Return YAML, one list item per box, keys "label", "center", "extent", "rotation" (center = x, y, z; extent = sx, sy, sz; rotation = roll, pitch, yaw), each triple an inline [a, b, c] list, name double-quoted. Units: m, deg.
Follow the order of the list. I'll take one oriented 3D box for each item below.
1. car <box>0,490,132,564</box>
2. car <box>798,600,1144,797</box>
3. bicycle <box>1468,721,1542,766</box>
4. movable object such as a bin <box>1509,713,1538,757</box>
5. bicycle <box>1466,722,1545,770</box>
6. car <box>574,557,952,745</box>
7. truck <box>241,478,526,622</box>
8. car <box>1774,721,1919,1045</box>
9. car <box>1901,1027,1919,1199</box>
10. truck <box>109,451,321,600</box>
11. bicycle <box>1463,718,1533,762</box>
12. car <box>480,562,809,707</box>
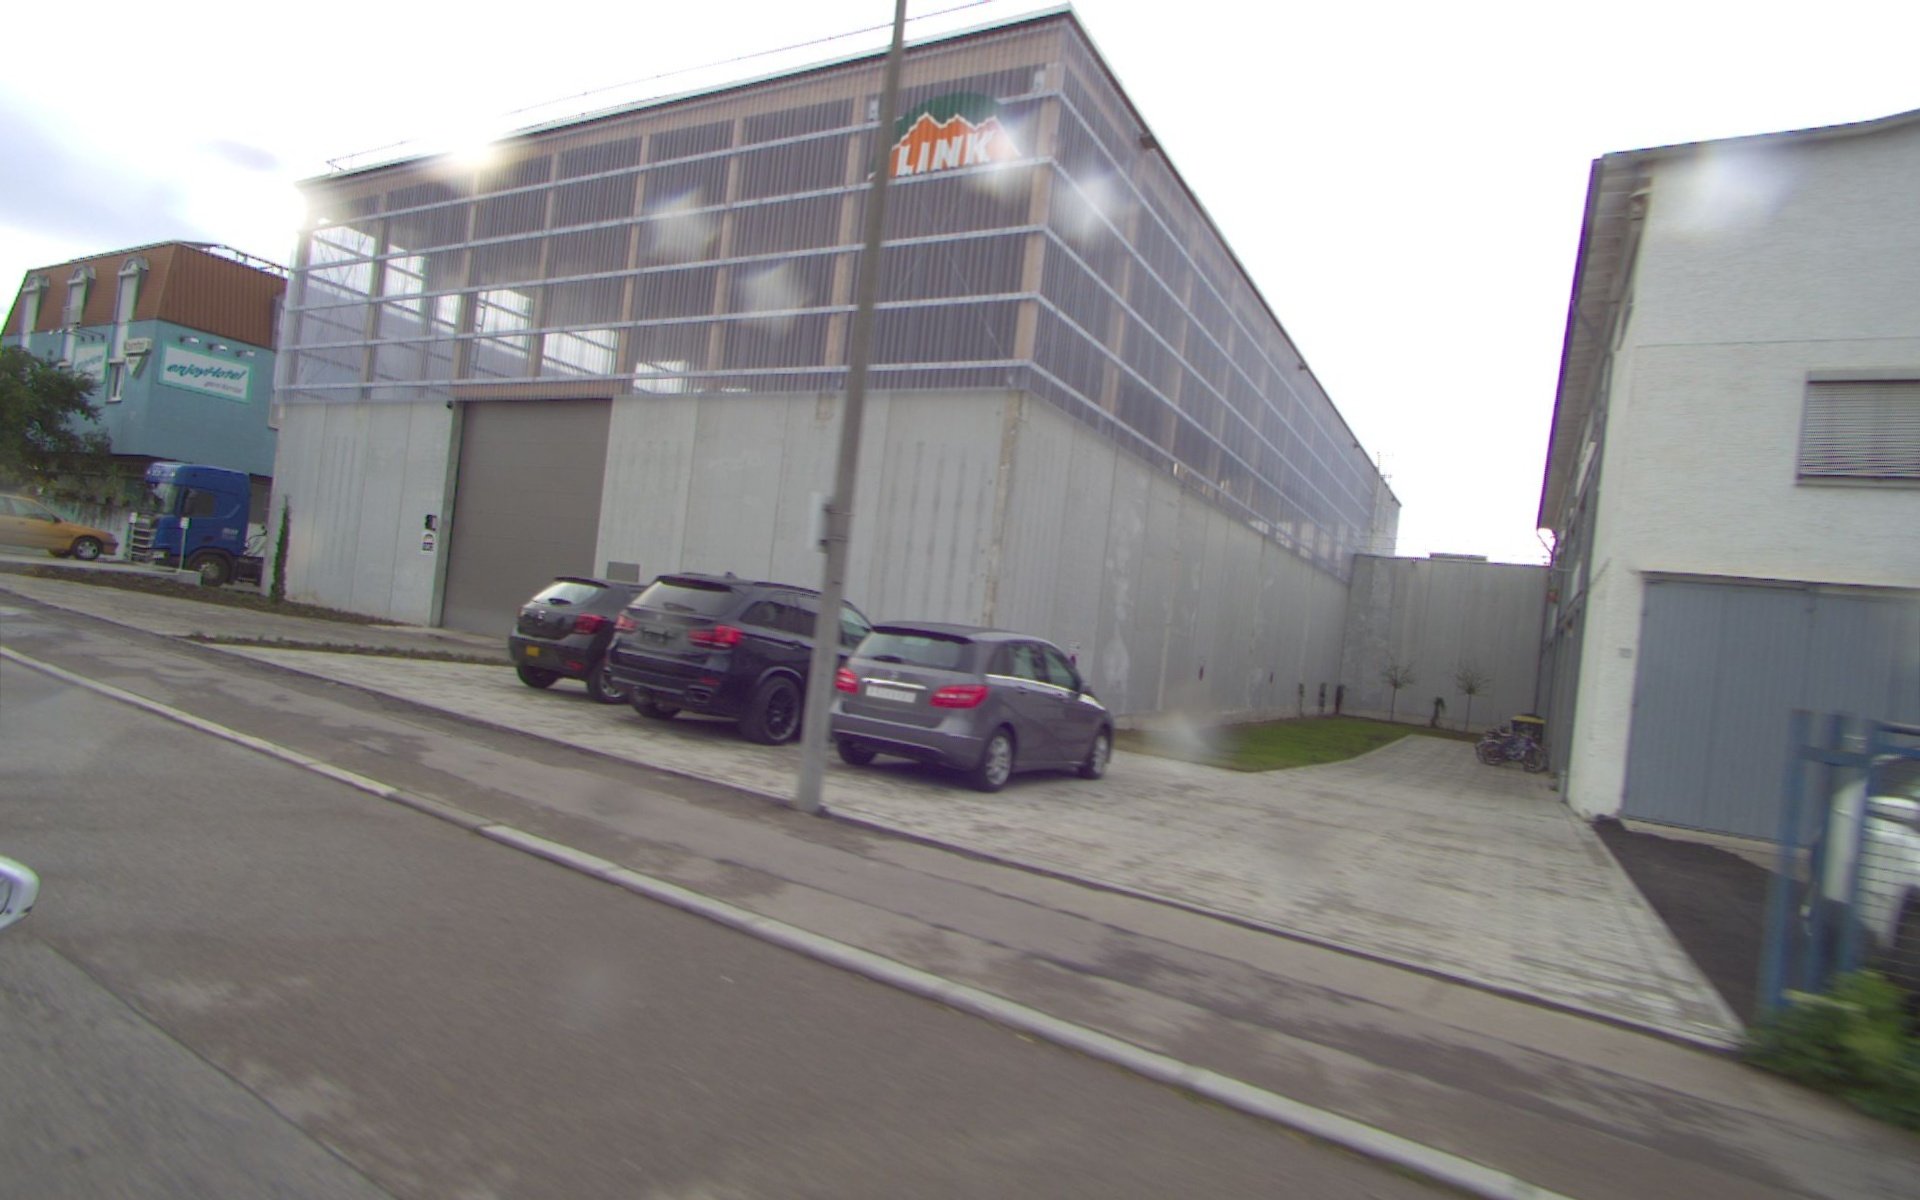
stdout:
- label: "car"
  center: [-23.005, -1.891, 24.488]
  extent: [1.603, 1.447, 3.996]
  rotation: [7, -1, 29]
- label: "car"
  center: [0.362, 1.099, 11.032]
  extent: [1.781, 1.553, 4.255]
  rotation: [7, -3, 31]
- label: "bicycle"
  center: [16.774, 4.413, 30.976]
  extent: [1.795, 1.072, 0.676]
  rotation: [6, -2, 40]
- label: "movable object such as a bin"
  center: [19.656, 4.697, 35.076]
  extent: [0.711, 1.397, 0.408]
  rotation: [7, -1, 34]
- label: "bicycle"
  center: [15.731, 4.215, 29.032]
  extent: [1.795, 1.072, 0.676]
  rotation: [6, -2, 40]
- label: "car"
  center: [-2.120, 0.692, 12.055]
  extent: [1.948, 1.694, 4.235]
  rotation: [6, -3, 32]
- label: "truck"
  center: [-20.541, -1.601, 36.627]
  extent: [2.675, 3.748, 8.561]
  rotation: [7, -3, 28]
- label: "car"
  center: [6.446, 1.664, 5.843]
  extent: [1.862, 1.642, 4.456]
  rotation: [7, -3, 31]
- label: "car"
  center: [3.879, 1.325, 0.627]
  extent: [4.468, 1.483, 1.743]
  rotation: [6, -2, 30]
- label: "truck"
  center: [-23.231, -2.267, 31.557]
  extent: [2.673, 3.712, 4.160]
  rotation: [7, -4, 28]
- label: "bicycle"
  center: [17.350, 4.505, 32.474]
  extent: [1.795, 1.131, 0.676]
  rotation: [6, -2, 40]
- label: "car"
  center: [-4.123, 0.561, 13.795]
  extent: [1.802, 1.507, 3.974]
  rotation: [7, -2, 32]
